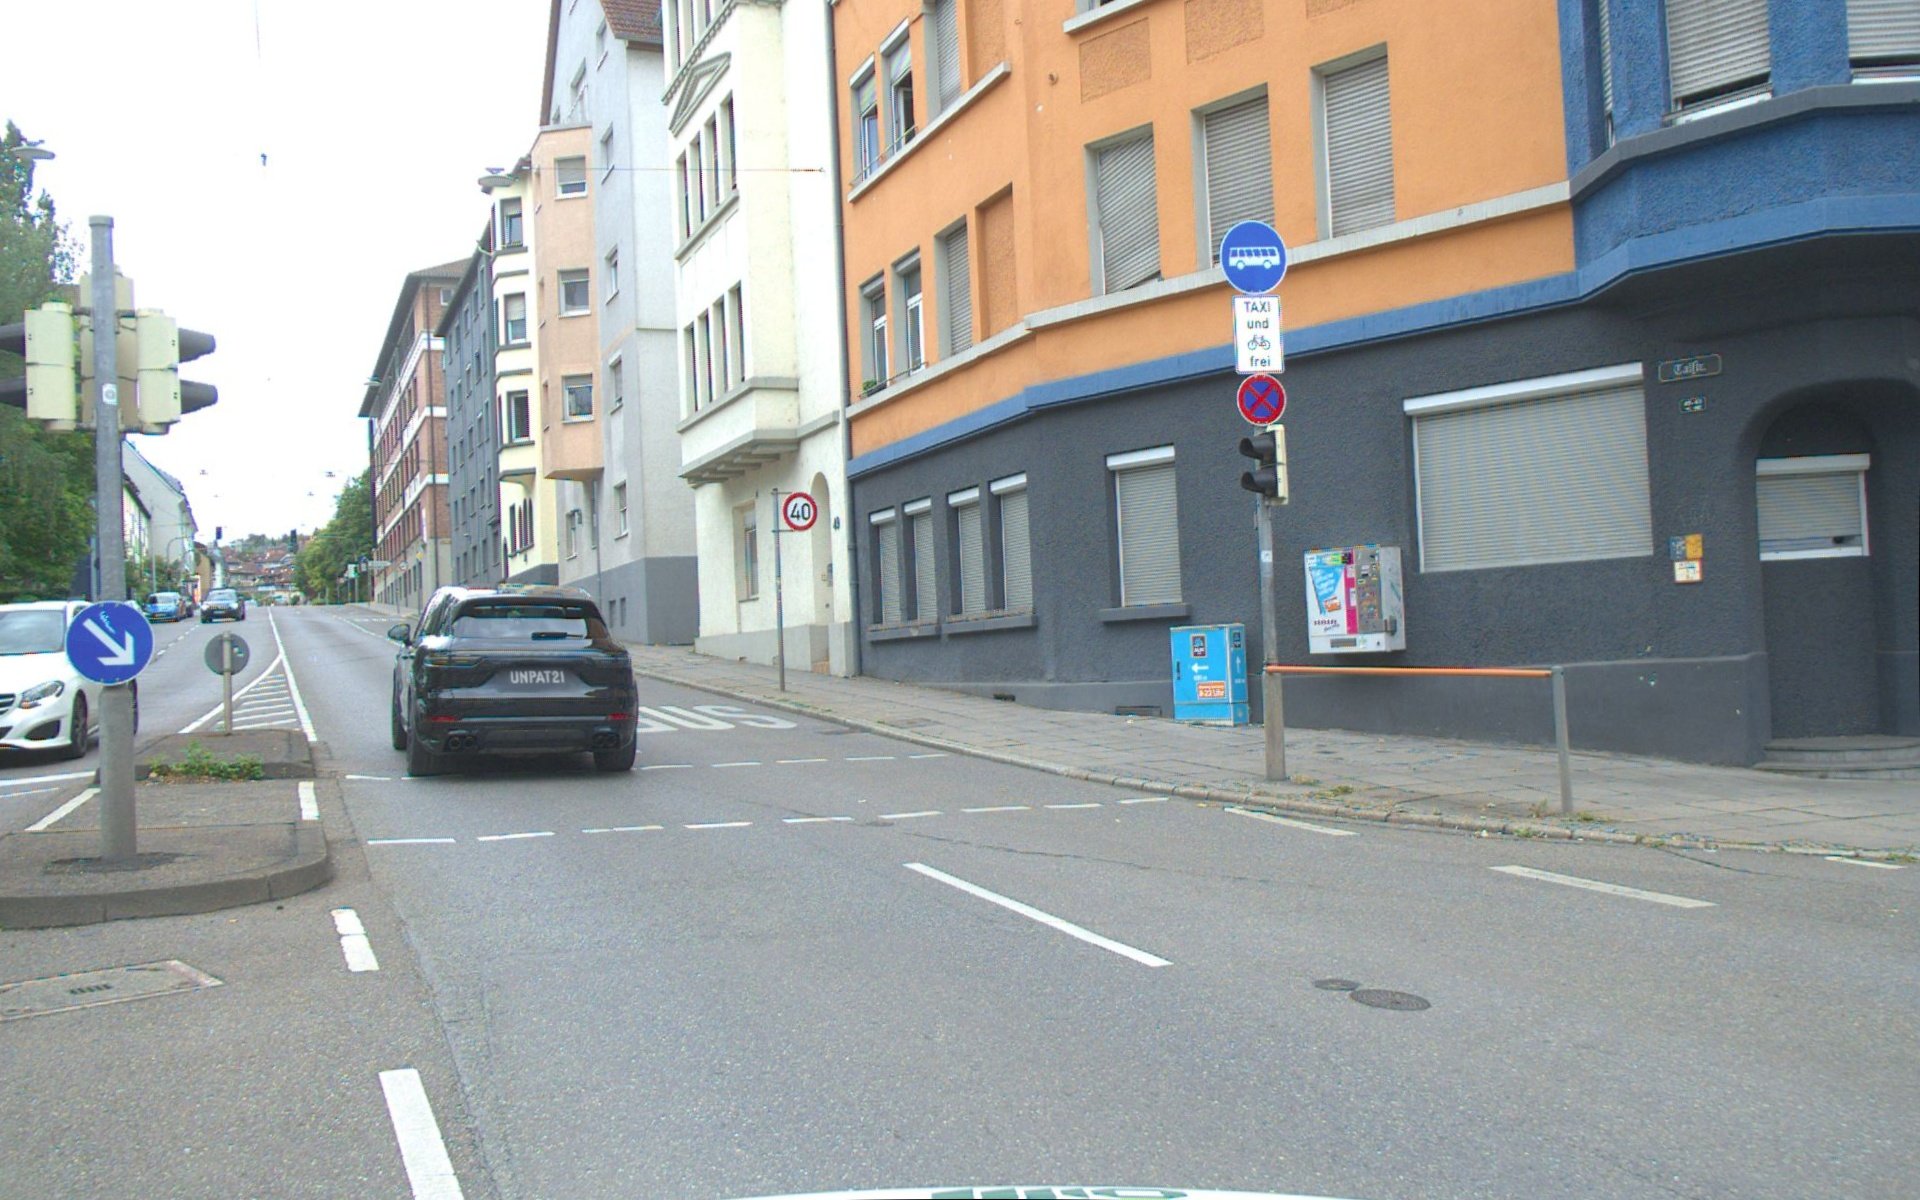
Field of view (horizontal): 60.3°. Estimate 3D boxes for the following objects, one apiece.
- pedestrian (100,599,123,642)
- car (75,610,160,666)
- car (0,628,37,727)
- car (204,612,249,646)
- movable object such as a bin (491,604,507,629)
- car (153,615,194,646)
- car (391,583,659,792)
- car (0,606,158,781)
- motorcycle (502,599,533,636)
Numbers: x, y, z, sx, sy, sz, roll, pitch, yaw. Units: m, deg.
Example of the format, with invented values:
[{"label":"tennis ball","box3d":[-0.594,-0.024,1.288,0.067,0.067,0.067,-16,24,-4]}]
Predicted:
[{"label":"pedestrian","box3d":[-39.133,0.928,76.280,0.870,1.984,0.861,1,-1,-24]},{"label":"car","box3d":[-24.864,1.086,48.934,1.815,1.473,4.280,-4,1,-23]},{"label":"car","box3d":[-17.344,1.394,28.308,1.924,1.621,4.470,-5,1,-20]},{"label":"car","box3d":[-35.716,1.382,80.585,1.815,1.473,4.280,-4,1,-23]},{"label":"movable object such as a bin","box3d":[-17.577,0.632,63.018,0.468,0.907,0.513,-5,1,-24]},{"label":"car","box3d":[-41.176,1.575,86.676,1.692,1.448,3.960,-4,1,-23]},{"label":"car","box3d":[-4.267,0.726,15.703,1.995,1.670,4.327,0,-1,-21]},{"label":"car","box3d":[-9.852,0.925,17.357,1.747,1.573,4.306,-5,1,-16]},{"label":"motorcycle","box3d":[-15.174,0.597,56.713,0.531,1.175,2.208,-5,2,-26]}]
